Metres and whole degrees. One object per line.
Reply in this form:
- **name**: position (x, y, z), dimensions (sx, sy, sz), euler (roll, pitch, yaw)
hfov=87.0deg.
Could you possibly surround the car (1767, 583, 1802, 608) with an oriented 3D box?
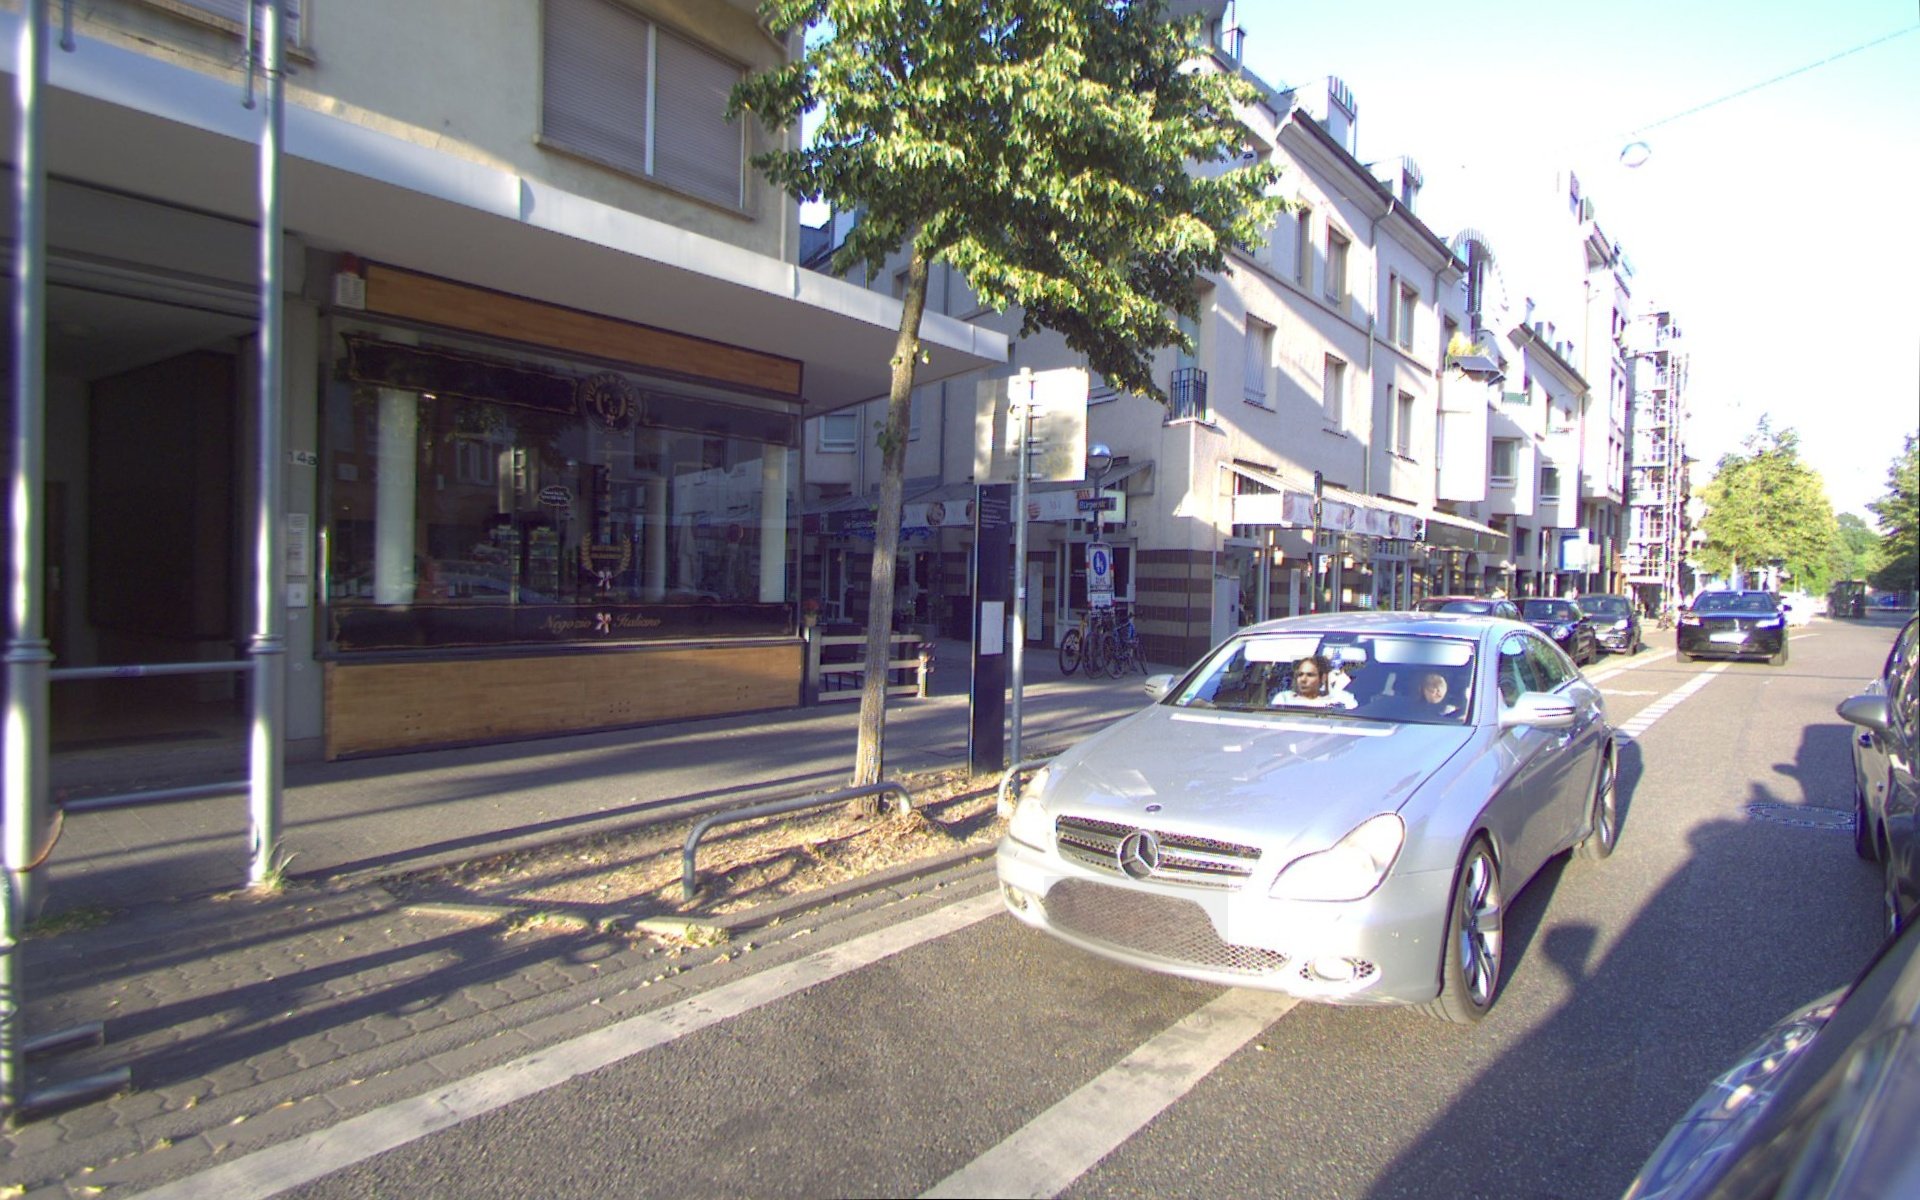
- **car**: position (58.196, -0.326, 71.388), dimensions (1.760, 1.652, 3.815), euler (2, 2, 41)

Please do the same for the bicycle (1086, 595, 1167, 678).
- **bicycle**: position (2.580, 0.524, 15.518), dimensions (0.330, 1.144, 1.986), euler (3, 3, 37)

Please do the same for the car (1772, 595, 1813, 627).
- **car**: position (46.814, 0.599, 56.870), dimensions (1.686, 1.675, 3.679), euler (0, 1, 41)

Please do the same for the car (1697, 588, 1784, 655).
- **car**: position (20.389, 0.508, 26.386), dimensions (1.684, 1.562, 3.679), euler (0, 1, 39)

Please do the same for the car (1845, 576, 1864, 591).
- **car**: position (106.698, -1.985, 120.669), dimensions (1.667, 1.660, 3.207), euler (0, 1, 42)

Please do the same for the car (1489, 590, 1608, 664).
- **car**: position (12.412, 0.504, 21.251), dimensions (1.608, 1.411, 3.642), euler (0, 0, 39)

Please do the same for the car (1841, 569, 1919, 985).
- **car**: position (4.986, 0.622, 4.334), dimensions (1.580, 1.471, 3.790), euler (1, 1, 38)

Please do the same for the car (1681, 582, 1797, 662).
- **car**: position (17.796, 0.424, 23.055), dimensions (1.889, 1.662, 3.694), euler (1, 1, 41)

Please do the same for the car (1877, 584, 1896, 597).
- **car**: position (134.542, -1.393, 146.949), dimensions (3.525, 1.829, 1.842), euler (-2, 1, -44)

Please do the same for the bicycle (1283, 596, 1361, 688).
- **bicycle**: position (5.418, 0.589, 15.099), dimensions (0.503, 1.253, 1.687), euler (3, 3, 40)

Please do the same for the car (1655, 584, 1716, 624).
- **car**: position (31.441, 0.127, 43.798), dimensions (1.760, 1.591, 3.815), euler (3, 2, 41)

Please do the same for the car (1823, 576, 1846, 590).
- **car**: position (95.687, -1.824, 110.698), dimensions (3.173, 1.489, 1.612), euler (-2, 1, -44)

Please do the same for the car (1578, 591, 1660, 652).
- **car**: position (17.301, 0.501, 26.516), dimensions (1.426, 1.469, 3.332), euler (1, 1, 40)

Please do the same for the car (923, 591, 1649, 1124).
- **car**: position (2.005, 0.675, 5.013), dimensions (1.784, 1.386, 4.505), euler (0, 1, 41)

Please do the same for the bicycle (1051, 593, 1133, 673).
- **bicycle**: position (2.101, 0.484, 15.898), dimensions (0.330, 1.144, 1.986), euler (1, 2, 37)

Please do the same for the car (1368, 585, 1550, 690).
- **car**: position (7.943, 0.511, 15.948), dimensions (1.647, 1.446, 3.941), euler (0, 0, 41)
